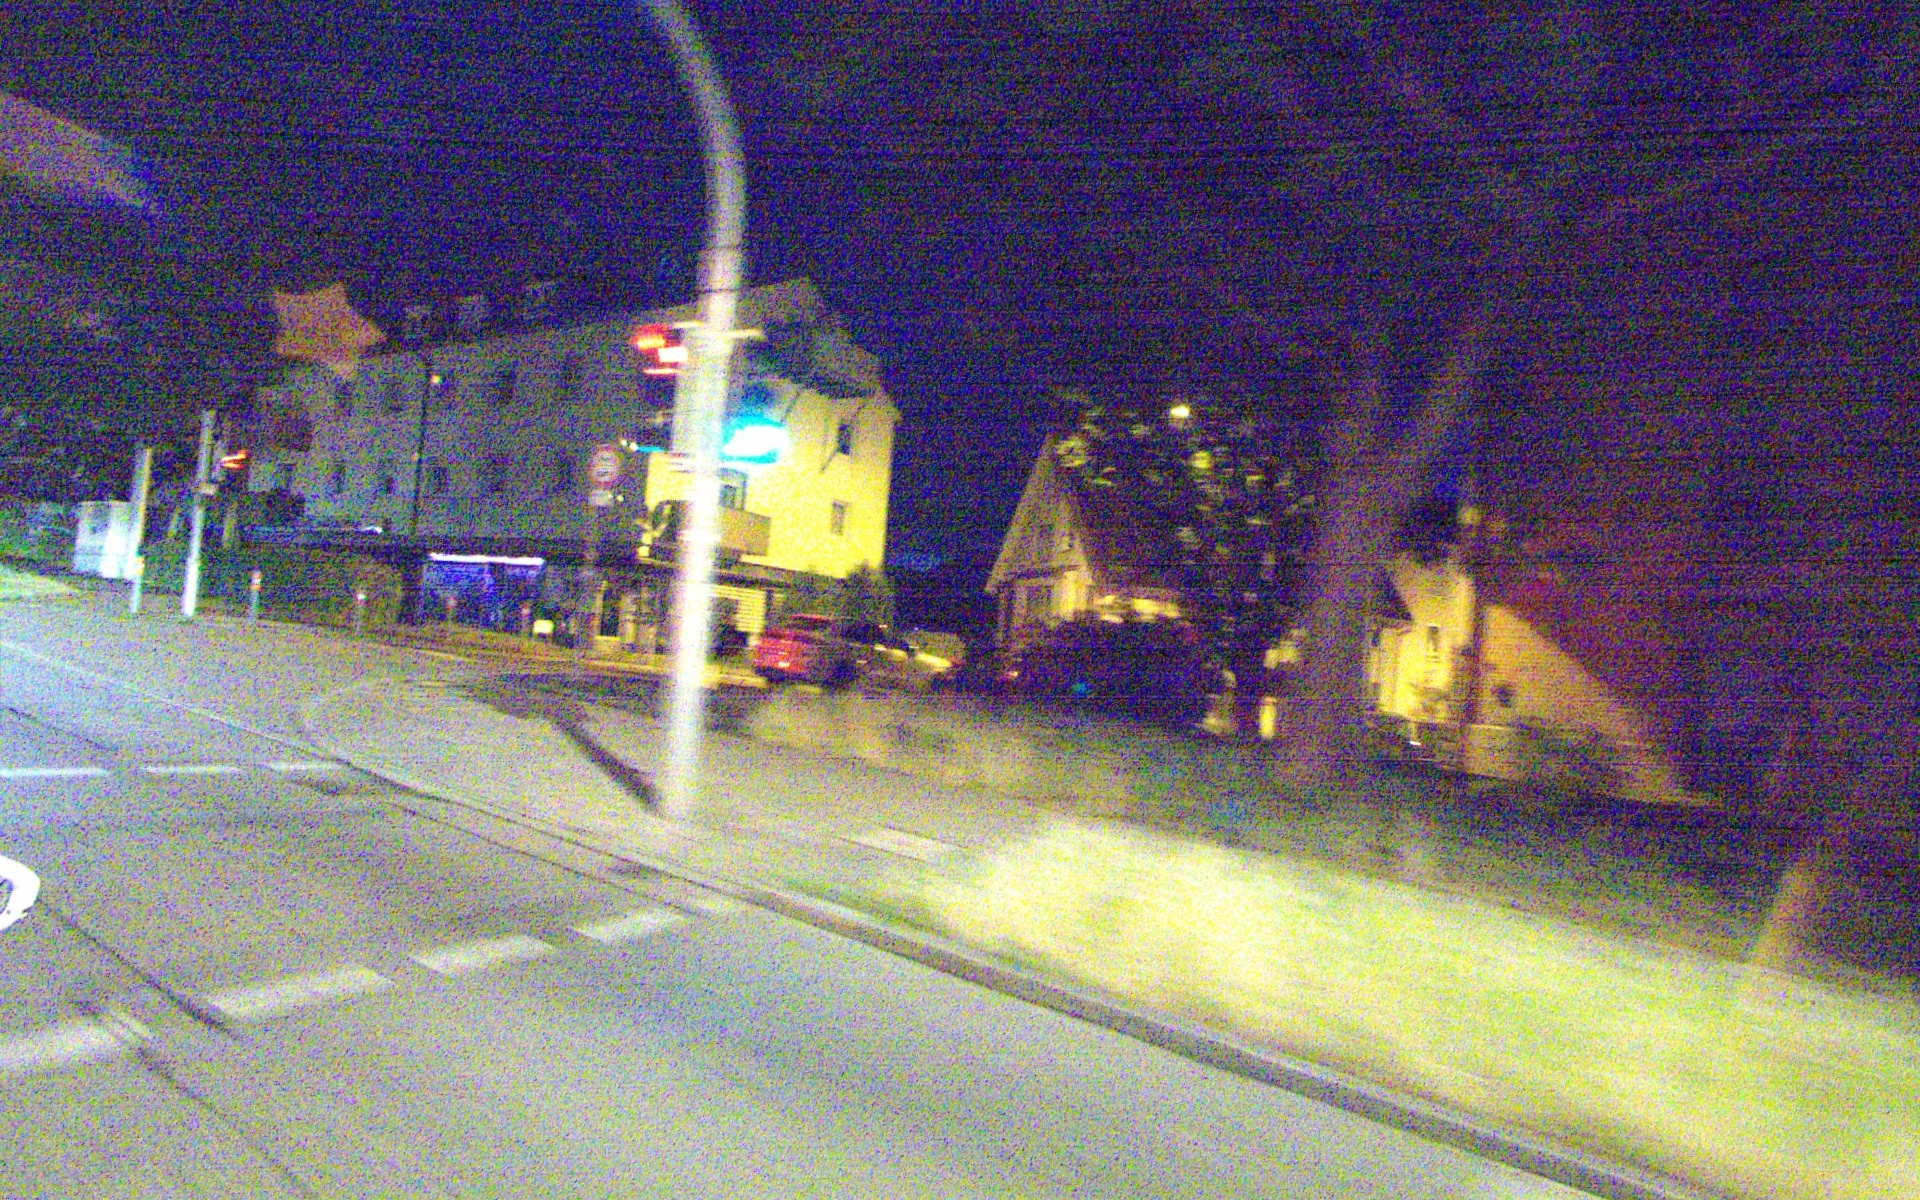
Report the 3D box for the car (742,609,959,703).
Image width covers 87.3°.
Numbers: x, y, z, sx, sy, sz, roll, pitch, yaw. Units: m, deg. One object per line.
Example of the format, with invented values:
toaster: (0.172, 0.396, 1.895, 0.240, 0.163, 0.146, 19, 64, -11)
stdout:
car: (-2.120, 1.201, 20.641, 1.778, 1.577, 4.366, 3, -4, 39)
